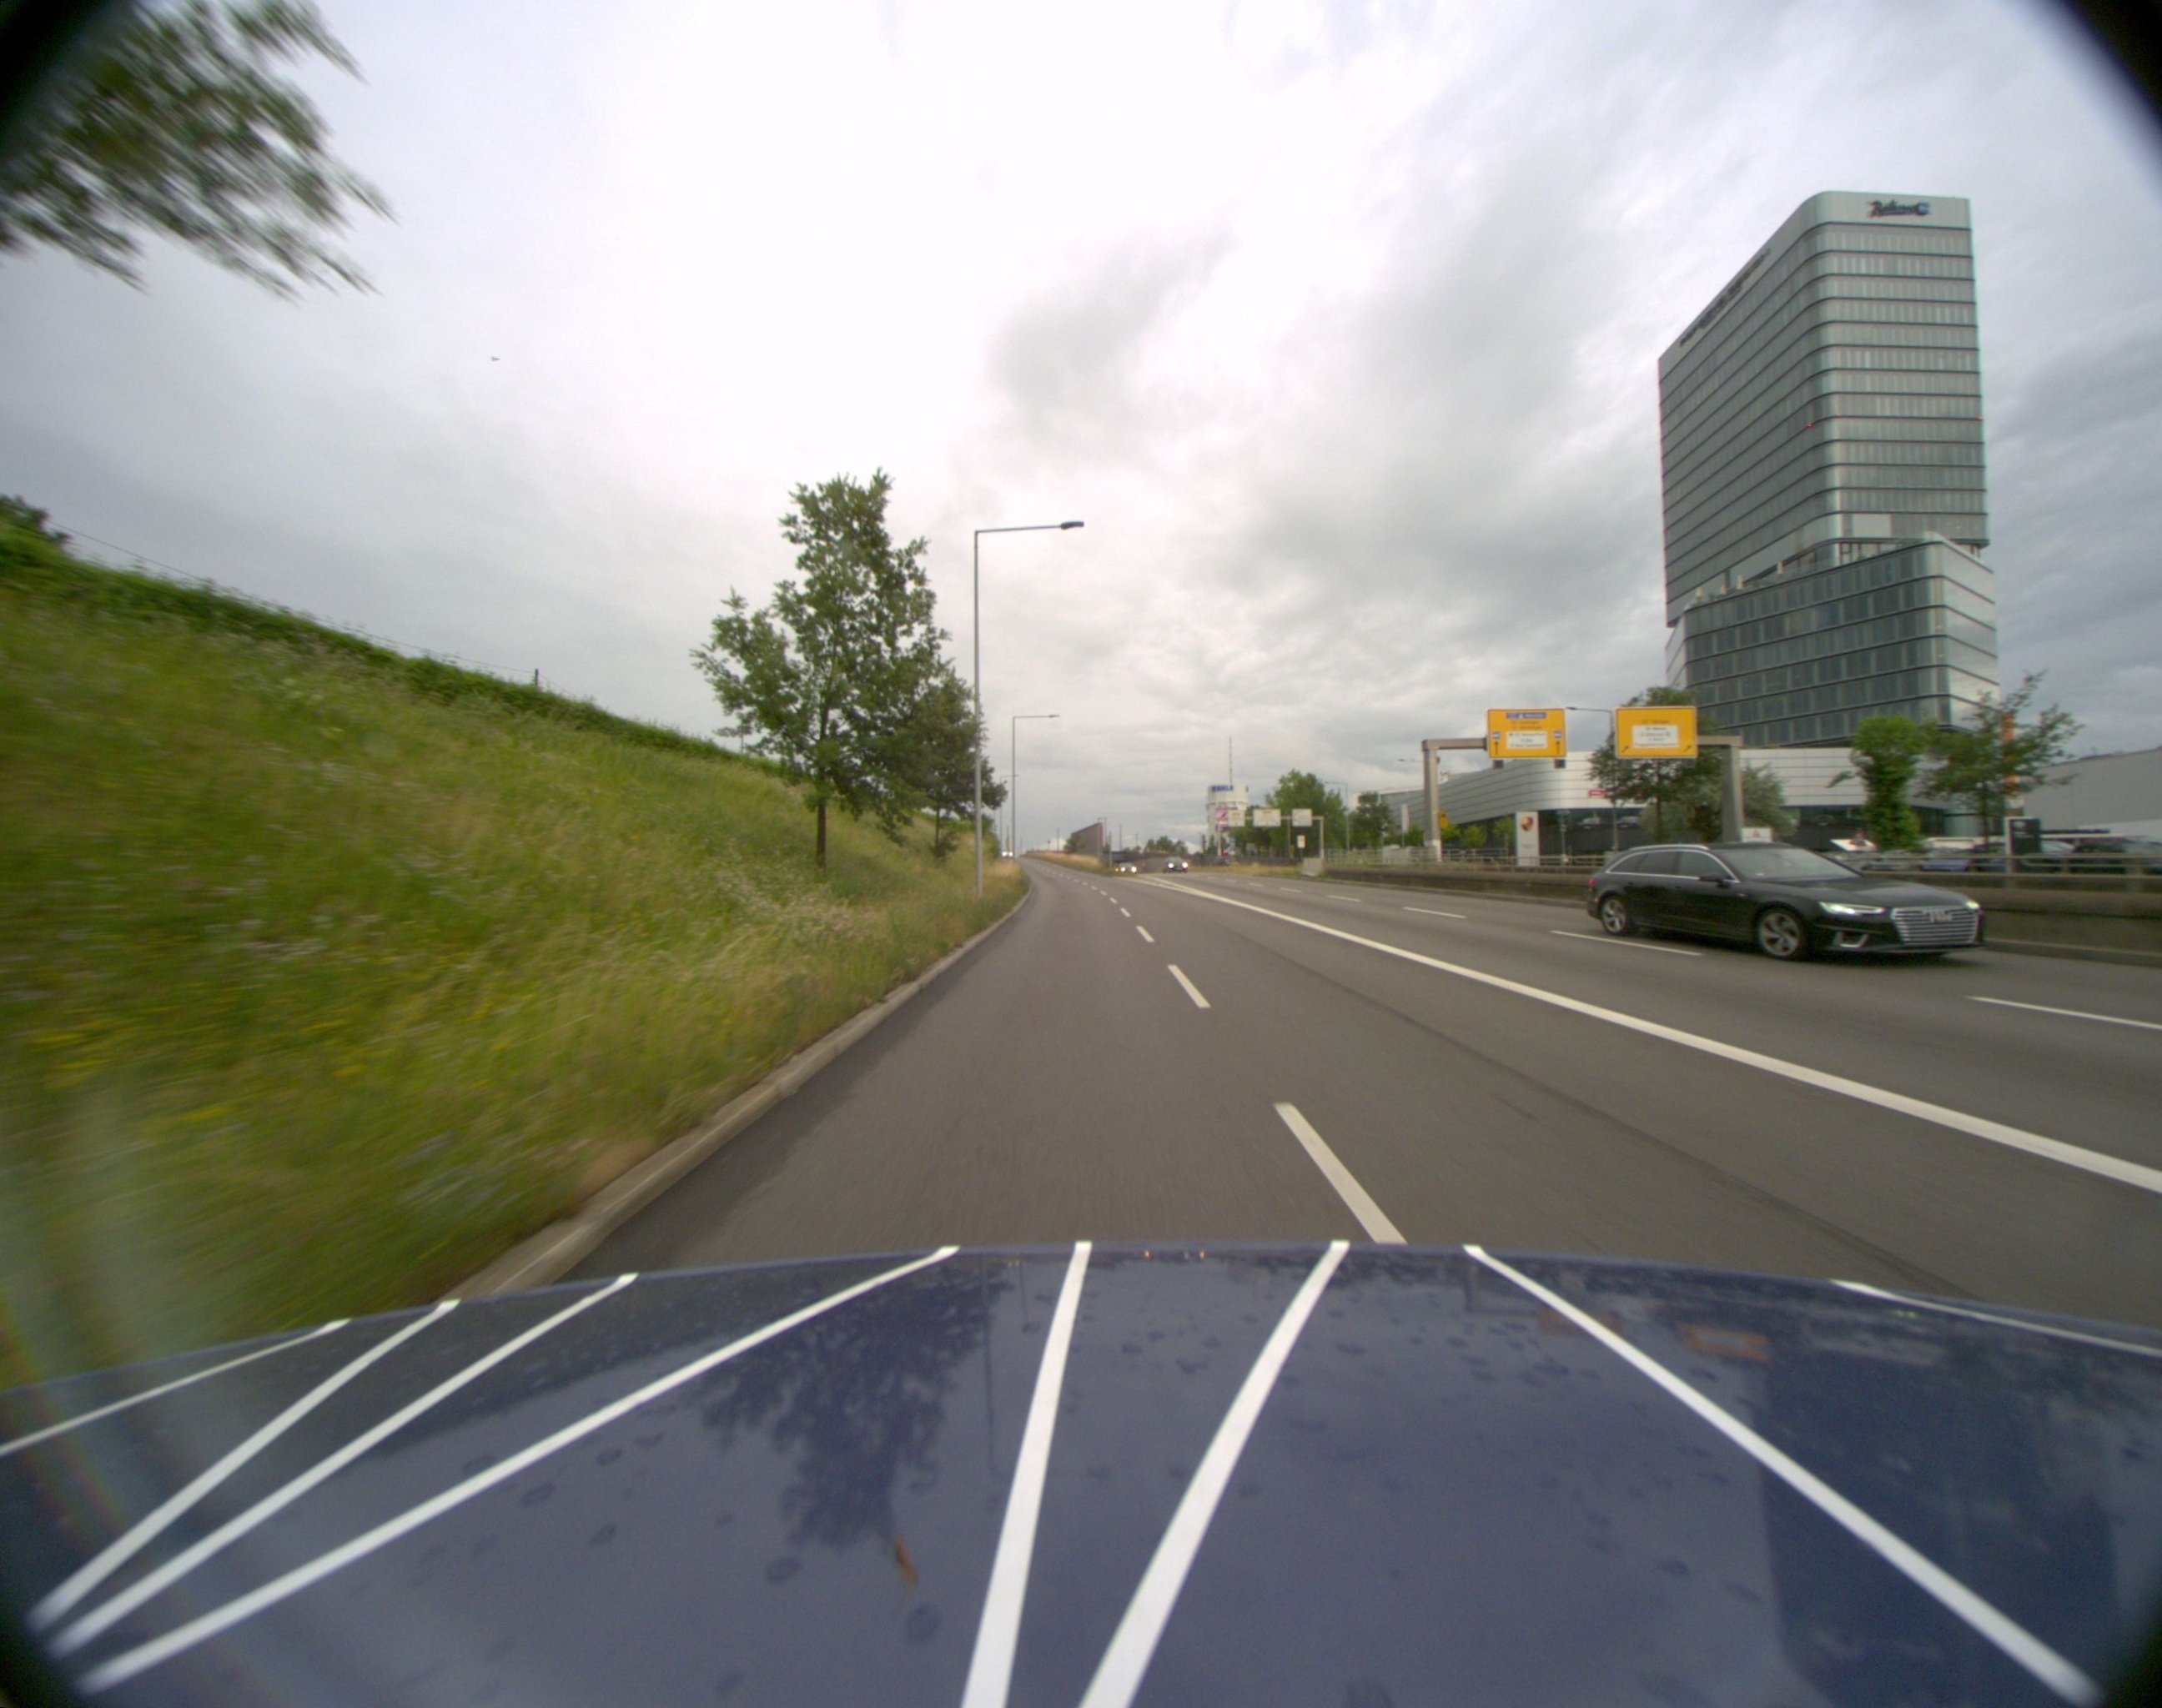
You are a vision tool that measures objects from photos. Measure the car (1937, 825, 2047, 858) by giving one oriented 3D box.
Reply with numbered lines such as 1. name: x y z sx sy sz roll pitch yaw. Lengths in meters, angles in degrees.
1. car: 54.834 -0.724 45.846 1.921 1.673 4.003 -3 -2 6

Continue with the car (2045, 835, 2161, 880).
1. car: 41.655 0.136 30.213 1.919 1.673 4.510 -4 -3 19

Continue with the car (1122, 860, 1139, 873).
1. car: 6.369 1.626 98.656 1.872 1.622 3.999 -1 0 0

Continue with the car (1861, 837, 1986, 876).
1. car: 42.391 0.157 38.322 3.997 1.673 1.924 -3 -2 1

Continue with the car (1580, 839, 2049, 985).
1. car: 9.065 0.583 10.132 1.814 1.411 4.631 -3 0 1

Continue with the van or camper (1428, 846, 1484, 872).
1. van or camper: 27.218 0.424 55.320 1.869 1.647 3.949 -3 -2 -3

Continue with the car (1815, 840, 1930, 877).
1. car: 42.343 0.263 40.745 3.997 1.673 1.924 -3 -2 1

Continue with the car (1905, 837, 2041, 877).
1. car: 42.170 0.169 35.978 3.997 1.673 1.924 -3 -2 1

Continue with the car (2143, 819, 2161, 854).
1. car: 58.727 -1.013 38.633 1.998 1.870 5.539 -3 -1 6

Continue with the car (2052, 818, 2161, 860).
1. car: 53.159 -0.748 38.862 1.905 1.870 4.004 -3 -2 6

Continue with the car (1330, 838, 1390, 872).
1. car: 14.655 0.093 40.117 1.692 1.580 3.550 -3 -2 -1

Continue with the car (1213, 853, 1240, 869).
1. car: 17.167 0.800 89.843 1.815 1.819 4.629 -3 0 -4

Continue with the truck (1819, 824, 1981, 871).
1. truck: 51.736 -0.284 48.364 2.371 2.512 7.416 -3 -2 3

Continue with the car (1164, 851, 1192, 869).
1. car: 8.935 0.543 70.219 1.873 1.622 3.999 -2 0 -3

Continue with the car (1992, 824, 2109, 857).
1. car: 57.679 -0.766 45.327 1.921 1.673 4.003 -3 -2 6

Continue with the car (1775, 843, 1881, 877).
1. car: 42.365 0.376 43.167 3.997 1.673 1.924 -3 -2 1

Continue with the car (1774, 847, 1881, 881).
1. car: 42.371 0.597 43.205 3.997 1.673 1.924 -3 -2 1
